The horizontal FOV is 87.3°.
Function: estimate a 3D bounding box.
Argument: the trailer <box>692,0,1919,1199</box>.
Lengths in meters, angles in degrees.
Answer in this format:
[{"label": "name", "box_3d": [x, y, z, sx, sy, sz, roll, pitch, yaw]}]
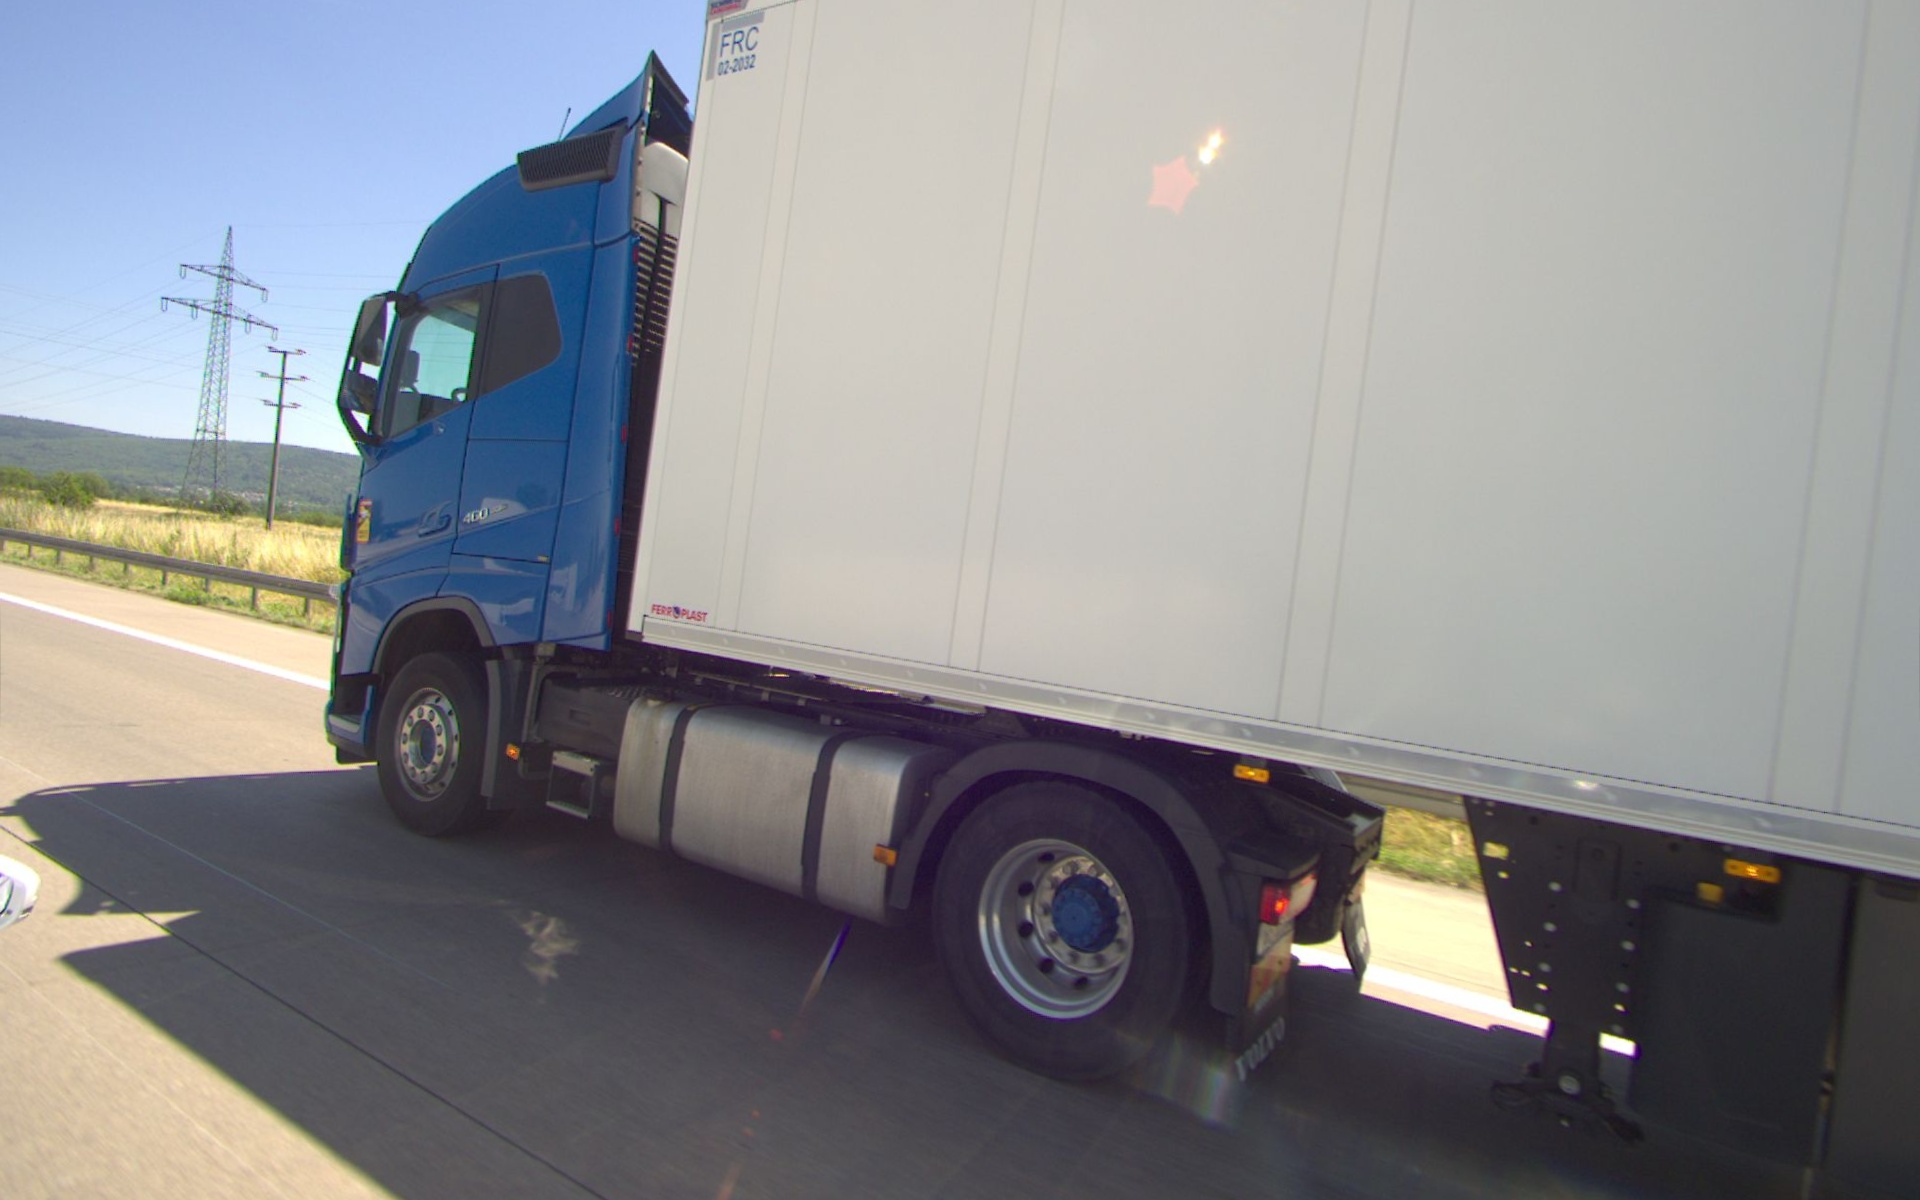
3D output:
[{"label": "trailer", "box_3d": [5.202, 0.097, 1.964, 12.688, 4.091, 2.714, 6, -1, 32]}]

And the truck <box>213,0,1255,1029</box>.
[{"label": "truck", "box_3d": [-1.489, -0.651, 6.131, 5.375, 4.091, 2.755, 7, -1, 32]}]
